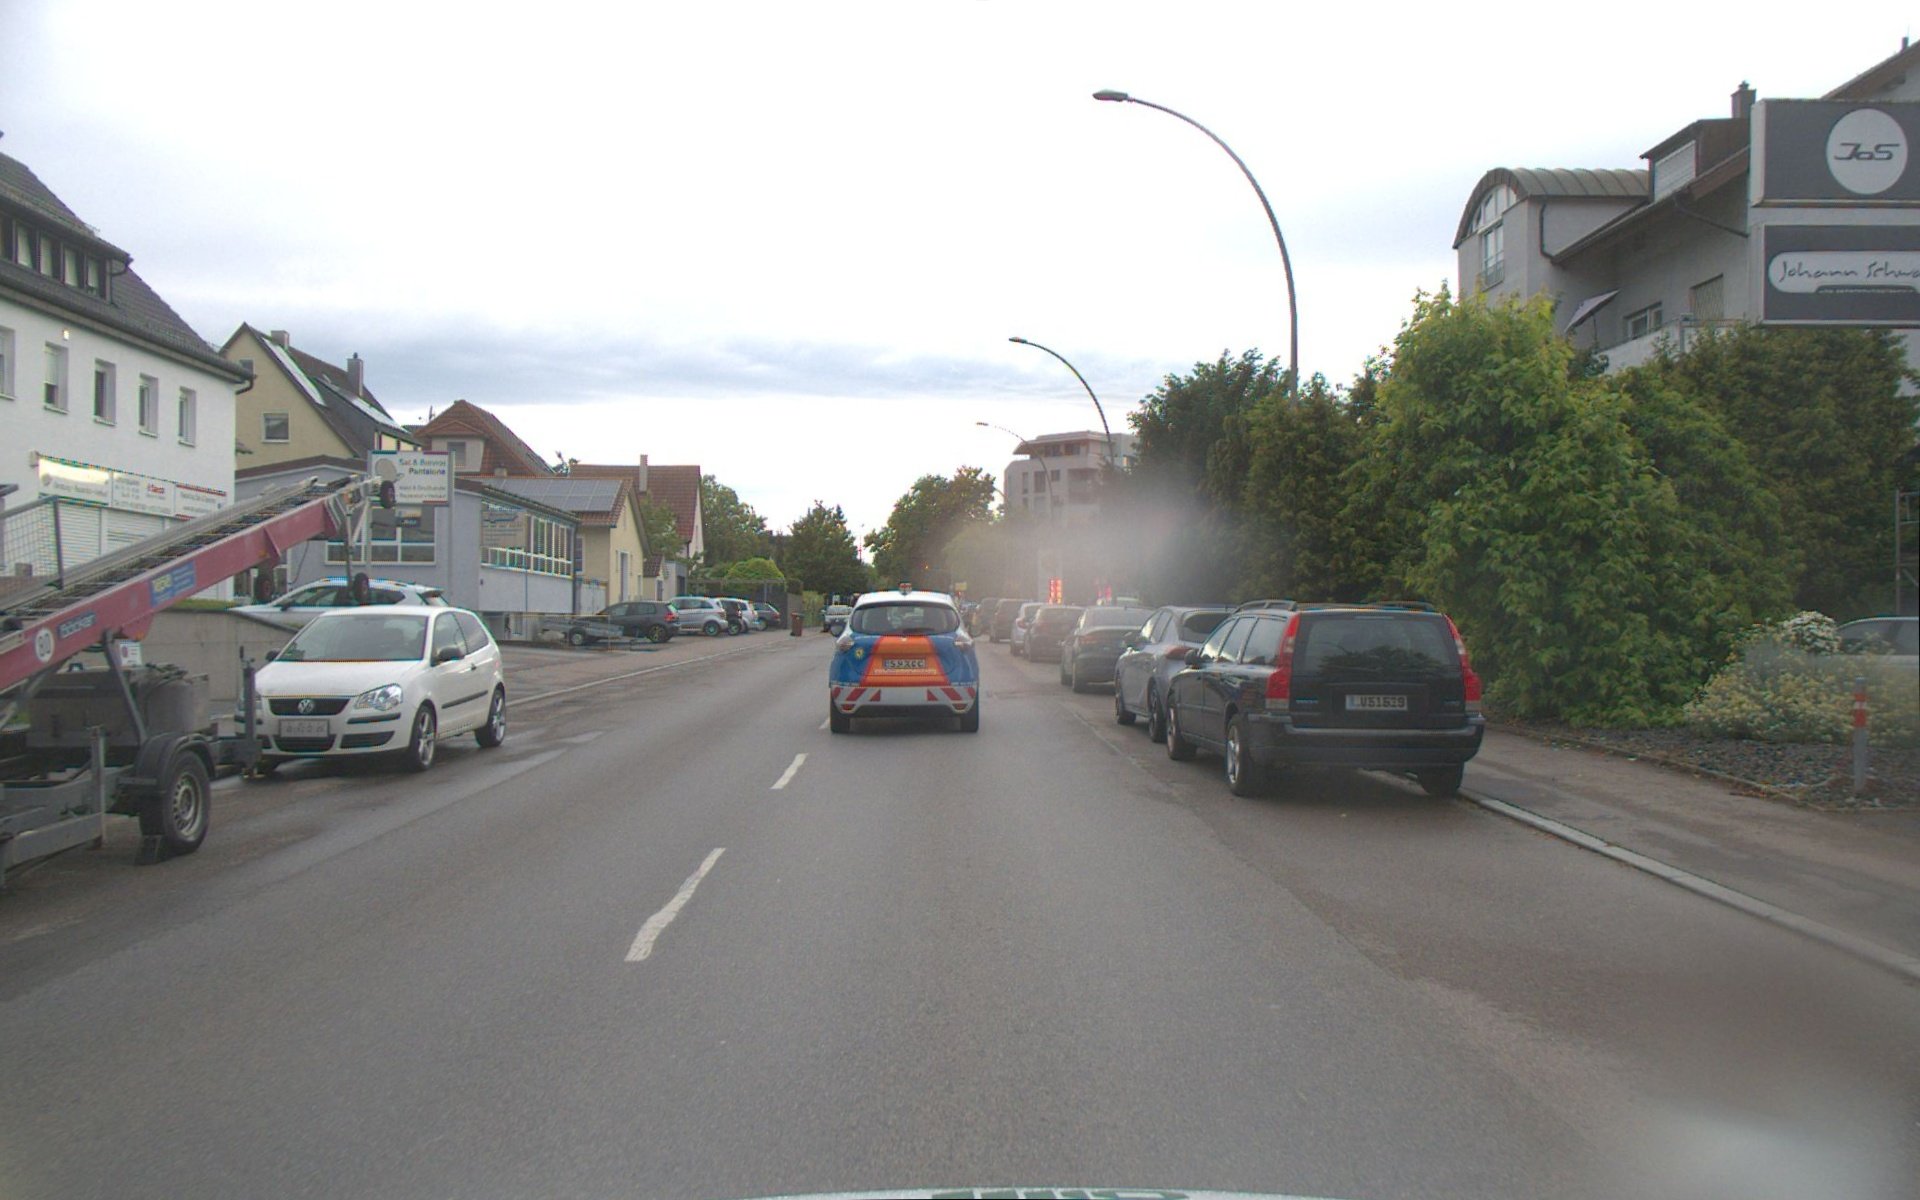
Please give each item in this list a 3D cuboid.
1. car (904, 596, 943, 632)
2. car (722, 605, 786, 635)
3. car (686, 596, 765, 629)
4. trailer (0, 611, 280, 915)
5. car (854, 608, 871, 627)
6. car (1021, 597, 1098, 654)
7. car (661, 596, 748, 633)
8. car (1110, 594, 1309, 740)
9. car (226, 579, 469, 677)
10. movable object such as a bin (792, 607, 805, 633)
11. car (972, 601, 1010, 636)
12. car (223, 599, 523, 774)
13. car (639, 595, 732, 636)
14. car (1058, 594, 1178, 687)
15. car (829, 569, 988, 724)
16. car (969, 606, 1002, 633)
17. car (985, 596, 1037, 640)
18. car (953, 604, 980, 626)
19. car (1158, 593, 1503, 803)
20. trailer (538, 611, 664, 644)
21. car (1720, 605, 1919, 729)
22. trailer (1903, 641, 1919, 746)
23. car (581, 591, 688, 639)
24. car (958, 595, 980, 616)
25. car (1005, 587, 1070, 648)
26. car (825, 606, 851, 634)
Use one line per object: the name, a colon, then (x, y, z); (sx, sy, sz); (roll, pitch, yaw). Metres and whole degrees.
car: (-1.655, 0.634, 74.590); (1.617, 1.548, 3.998); (2, 0, -3)
car: (-10.678, 1.028, 85.824); (3.217, 1.473, 1.478); (-1, 0, -5)
car: (-10.998, 0.579, 77.712); (3.582, 1.509, 1.478); (-1, 0, -5)
trailer: (-5.497, 0.823, 8.923); (1.683, 1.282, 5.242); (2, 2, -3)
car: (-6.642, 1.176, 113.246); (1.128, 1.254, 3.370); (0, 0, -3)
car: (2.460, 0.602, 41.620); (1.616, 1.359, 3.999); (0, 0, -1)
car: (-11.369, 0.664, 73.901); (3.686, 1.509, 1.653); (2, -1, -5)
car: (2.733, 0.682, 18.850); (1.509, 1.454, 3.749); (2, 0, -3)
car: (-10.917, 0.498, 29.657); (3.684, 1.595, 1.654); (2, -1, -3)
movable object such as a bin: (-7.808, 0.973, 79.847); (0.568, 1.225, 0.318); (1, 0, -1)
car: (1.565, 0.920, 84.364); (1.617, 1.701, 3.998); (2, 0, -3)
car: (-5.568, 0.757, 16.214); (1.526, 1.458, 3.999); (2, 0, -1)
car: (-11.524, 0.659, 69.534); (3.686, 1.604, 1.653); (2, -1, -5)
car: (2.590, 0.643, 27.817); (1.572, 1.398, 4.086); (2, 0, 0)
car: (-0.606, 0.517, 19.635); (1.696, 1.659, 3.493); (1, 0, -2)
car: (1.475, 1.117, 95.183); (1.617, 1.509, 3.998); (2, 0, -3)
car: (1.898, 0.682, 62.600); (1.617, 1.548, 3.998); (2, 0, -3)
car: (0.432, 1.060, 116.276); (1.617, 1.509, 3.998); (2, 0, -3)
car: (2.942, 0.722, 14.151); (1.677, 1.463, 4.523); (2, 0, -3)
trailer: (-12.211, 0.935, 56.465); (3.942, 1.012, 1.654); (2, -1, -3)
car: (11.468, 0.786, 19.986); (1.530, 1.423, 3.890); (0, 0, -45)
trailer: (10.646, 0.963, 15.346); (1.507, 1.078, 3.906); (1, 0, -1)
car: (-11.573, 0.534, 58.950); (3.511, 1.553, 1.653); (2, -1, -5)
car: (0.777, 0.492, 143.643); (1.617, 1.682, 3.998); (2, 0, -3)
car: (2.158, 0.505, 46.724); (1.451, 1.583, 3.859); (2, -1, -2)
car: (-6.991, 1.136, 94.990); (1.358, 1.509, 3.782); (1, 0, -3)
